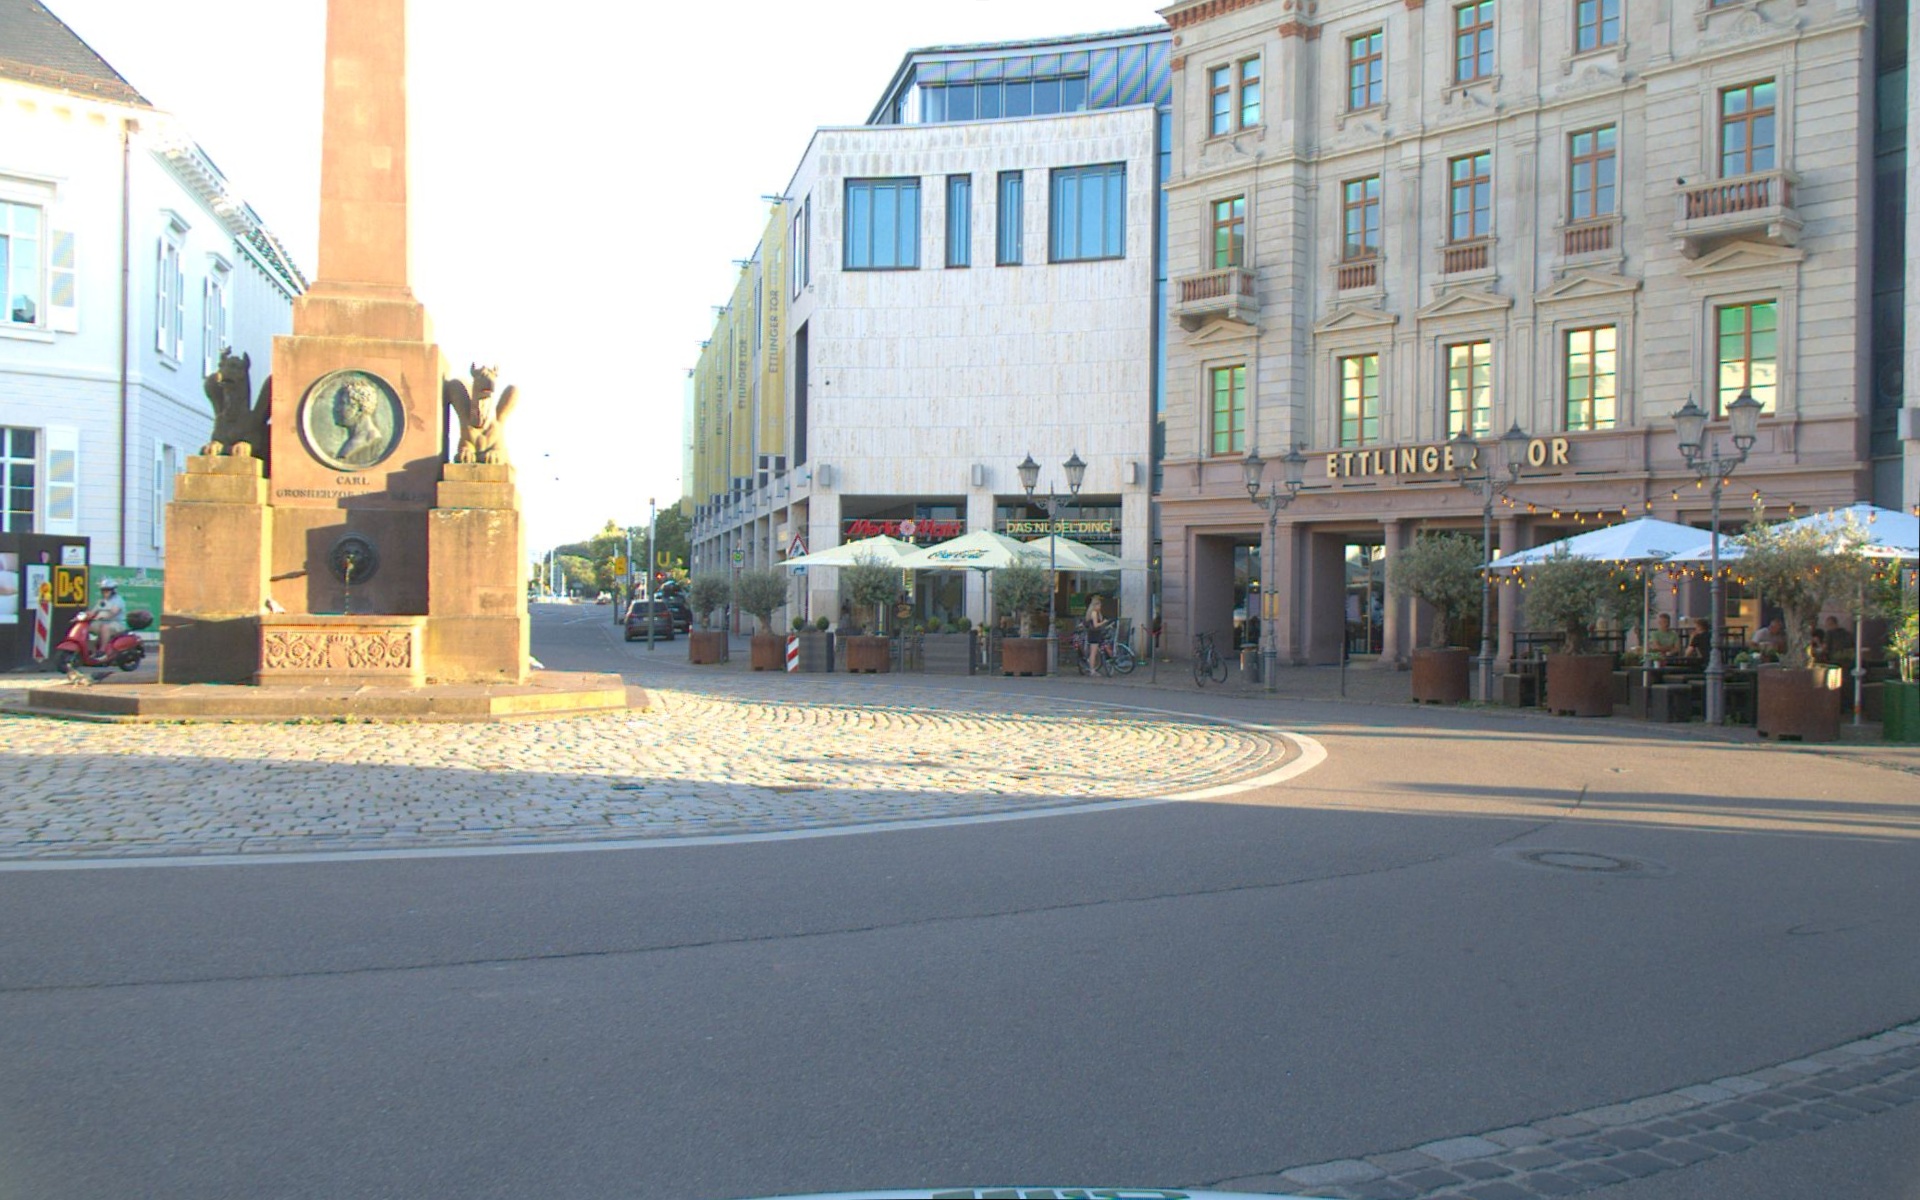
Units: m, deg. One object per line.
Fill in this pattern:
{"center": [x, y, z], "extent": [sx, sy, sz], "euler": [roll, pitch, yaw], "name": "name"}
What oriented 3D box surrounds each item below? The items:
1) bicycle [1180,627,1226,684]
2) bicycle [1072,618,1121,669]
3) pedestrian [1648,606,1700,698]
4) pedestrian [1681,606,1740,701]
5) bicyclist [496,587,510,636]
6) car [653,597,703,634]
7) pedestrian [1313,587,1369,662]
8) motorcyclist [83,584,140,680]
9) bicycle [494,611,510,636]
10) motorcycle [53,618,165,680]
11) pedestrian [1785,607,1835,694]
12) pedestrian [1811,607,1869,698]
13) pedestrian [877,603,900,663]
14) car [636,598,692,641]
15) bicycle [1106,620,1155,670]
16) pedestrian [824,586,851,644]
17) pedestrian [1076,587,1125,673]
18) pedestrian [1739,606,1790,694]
{"center": [4.778, 1.076, 32.486], "extent": [0.496, 1.050, 1.645], "euler": [0, 0, 22], "name": "bicycle"}
{"center": [2.993, 0.941, 36.144], "extent": [0.587, 1.050, 1.645], "euler": [0, 0, 23], "name": "bicycle"}
{"center": [11.944, 0.858, 27.669], "extent": [0.534, 1.504, 0.622], "euler": [0, 0, -11], "name": "pedestrian"}
{"center": [12.105, 0.859, 26.697], "extent": [0.576, 1.504, 0.682], "euler": [0, 0, -10], "name": "pedestrian"}
{"center": [-21.379, 0.529, 77.372], "extent": [0.589, 2.282, 0.801], "euler": [1, 0, -12], "name": "bicyclist"}
{"center": [-11.901, 0.632, 69.626], "extent": [1.958, 1.489, 3.989], "euler": [1, 0, -11], "name": "car"}
{"center": [9.594, 0.615, 41.623], "extent": [0.961, 1.854, 0.977], "euler": [1, 0, -37], "name": "pedestrian"}
{"center": [-15.220, 0.564, 29.675], "extent": [0.589, 1.681, 0.691], "euler": [0, 0, 30], "name": "motorcyclist"}
{"center": [-21.386, 1.102, 77.324], "extent": [0.589, 1.158, 1.750], "euler": [1, 0, -12], "name": "bicycle"}
{"center": [-15.237, 0.866, 29.663], "extent": [0.588, 1.050, 1.752], "euler": [0, 0, 30], "name": "motorcycle"}
{"center": [14.875, 0.871, 28.956], "extent": [0.532, 1.504, 0.624], "euler": [0, 0, -2], "name": "pedestrian"}
{"center": [14.855, 0.872, 27.917], "extent": [0.614, 1.504, 0.620], "euler": [0, 0, -23], "name": "pedestrian"}
{"center": [-1.710, 0.778, 39.698], "extent": [0.496, 1.422, 0.496], "euler": [0, 0, 3], "name": "pedestrian"}
{"center": [-10.981, 0.699, 61.170], "extent": [1.958, 1.489, 3.989], "euler": [1, 0, -11], "name": "car"}
{"center": [3.709, 0.963, 35.867], "extent": [0.606, 1.050, 1.645], "euler": [0, 0, 23], "name": "bicycle"}
{"center": [-3.892, 0.476, 52.353], "extent": [0.697, 1.818, 0.641], "euler": [1, 0, -20], "name": "pedestrian"}
{"center": [2.927, 0.620, 34.618], "extent": [0.887, 1.759, 0.849], "euler": [0, 0, -5], "name": "pedestrian"}
{"center": [13.999, 0.867, 28.784], "extent": [0.578, 1.504, 0.624], "euler": [0, 0, -2], "name": "pedestrian"}
